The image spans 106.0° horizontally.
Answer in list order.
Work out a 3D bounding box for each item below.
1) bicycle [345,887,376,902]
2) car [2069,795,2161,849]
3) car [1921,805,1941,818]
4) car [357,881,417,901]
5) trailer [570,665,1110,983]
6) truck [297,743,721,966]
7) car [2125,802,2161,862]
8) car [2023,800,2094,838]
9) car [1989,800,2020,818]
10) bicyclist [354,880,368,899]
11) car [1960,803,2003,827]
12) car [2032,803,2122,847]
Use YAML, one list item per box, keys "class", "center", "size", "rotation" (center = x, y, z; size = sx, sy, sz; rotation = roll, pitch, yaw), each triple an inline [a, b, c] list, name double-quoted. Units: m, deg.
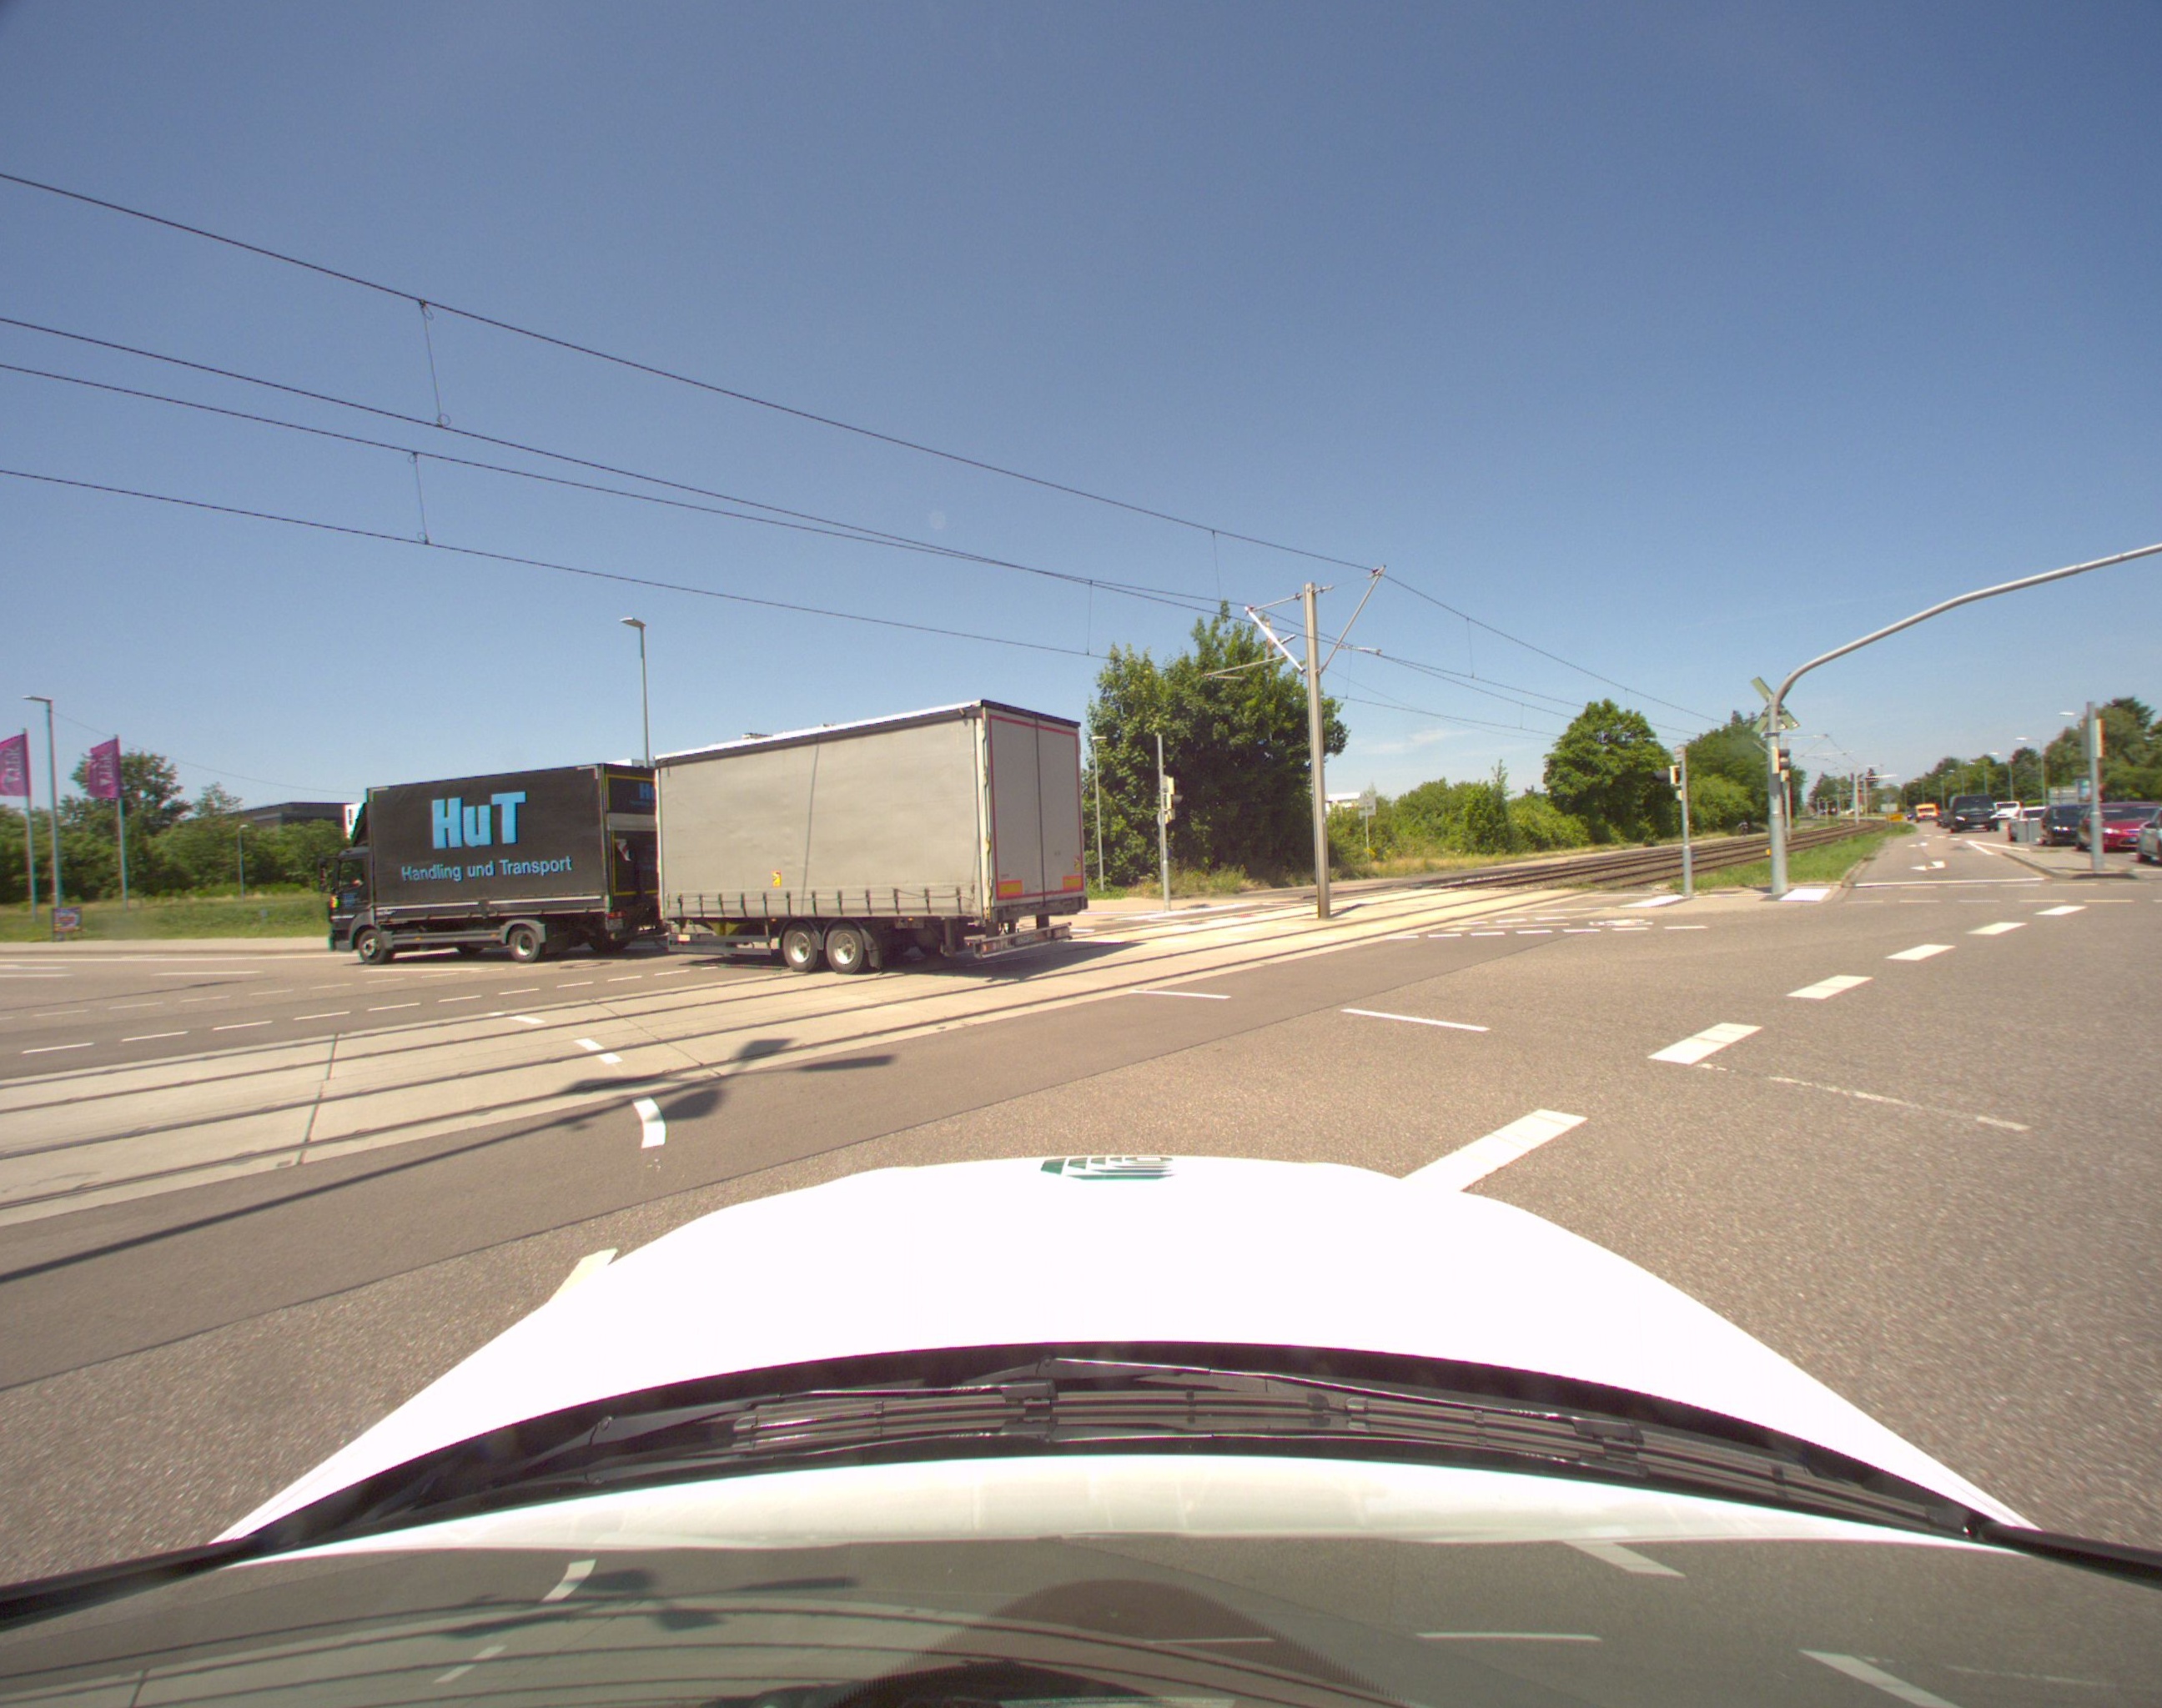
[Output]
- class: "bicycle"
  center: [-63.596, 3.559, 71.913]
  size: [0.606, 1.180, 1.977]
  rotation: [0, 2, 24]
- class: "car"
  center: [33.559, -1.042, 26.242]
  size: [4.438, 1.576, 1.852]
  rotation: [-3, 1, -44]
- class: "car"
  center: [117.906, -5.916, 113.013]
  size: [4.438, 1.685, 1.852]
  rotation: [-3, 1, -44]
- class: "car"
  center: [-61.285, 3.258, 71.949]
  size: [1.686, 1.533, 3.646]
  rotation: [-2, -1, 21]
- class: "trailer"
  center: [-4.577, -0.224, 14.199]
  size: [9.682, 4.070, 3.107]
  rotation: [-3, -1, 30]
- class: "truck"
  center: [-12.228, 0.155, 17.547]
  size: [7.872, 4.070, 3.100]
  rotation: [-2, -1, 16]
- class: "car"
  center: [27.225, -0.613, 19.747]
  size: [4.438, 1.389, 1.852]
  rotation: [-3, 1, -44]
- class: "car"
  center: [43.975, -1.589, 36.726]
  size: [4.438, 1.576, 1.709]
  rotation: [-3, 1, -44]
- class: "car"
  center: [94.664, -4.589, 83.512]
  size: [1.751, 1.755, 4.024]
  rotation: [1, 2, 44]
- class: "bicyclist"
  center: [-63.604, 3.140, 71.900]
  size: [0.602, 1.623, 0.696]
  rotation: [0, 2, 23]
- class: "car"
  center: [61.700, -2.674, 55.853]
  size: [4.438, 1.576, 1.852]
  rotation: [-3, 1, -44]
- class: "car"
  center: [38.870, -1.136, 31.867]
  size: [4.438, 1.576, 1.852]
  rotation: [-3, 1, -44]
